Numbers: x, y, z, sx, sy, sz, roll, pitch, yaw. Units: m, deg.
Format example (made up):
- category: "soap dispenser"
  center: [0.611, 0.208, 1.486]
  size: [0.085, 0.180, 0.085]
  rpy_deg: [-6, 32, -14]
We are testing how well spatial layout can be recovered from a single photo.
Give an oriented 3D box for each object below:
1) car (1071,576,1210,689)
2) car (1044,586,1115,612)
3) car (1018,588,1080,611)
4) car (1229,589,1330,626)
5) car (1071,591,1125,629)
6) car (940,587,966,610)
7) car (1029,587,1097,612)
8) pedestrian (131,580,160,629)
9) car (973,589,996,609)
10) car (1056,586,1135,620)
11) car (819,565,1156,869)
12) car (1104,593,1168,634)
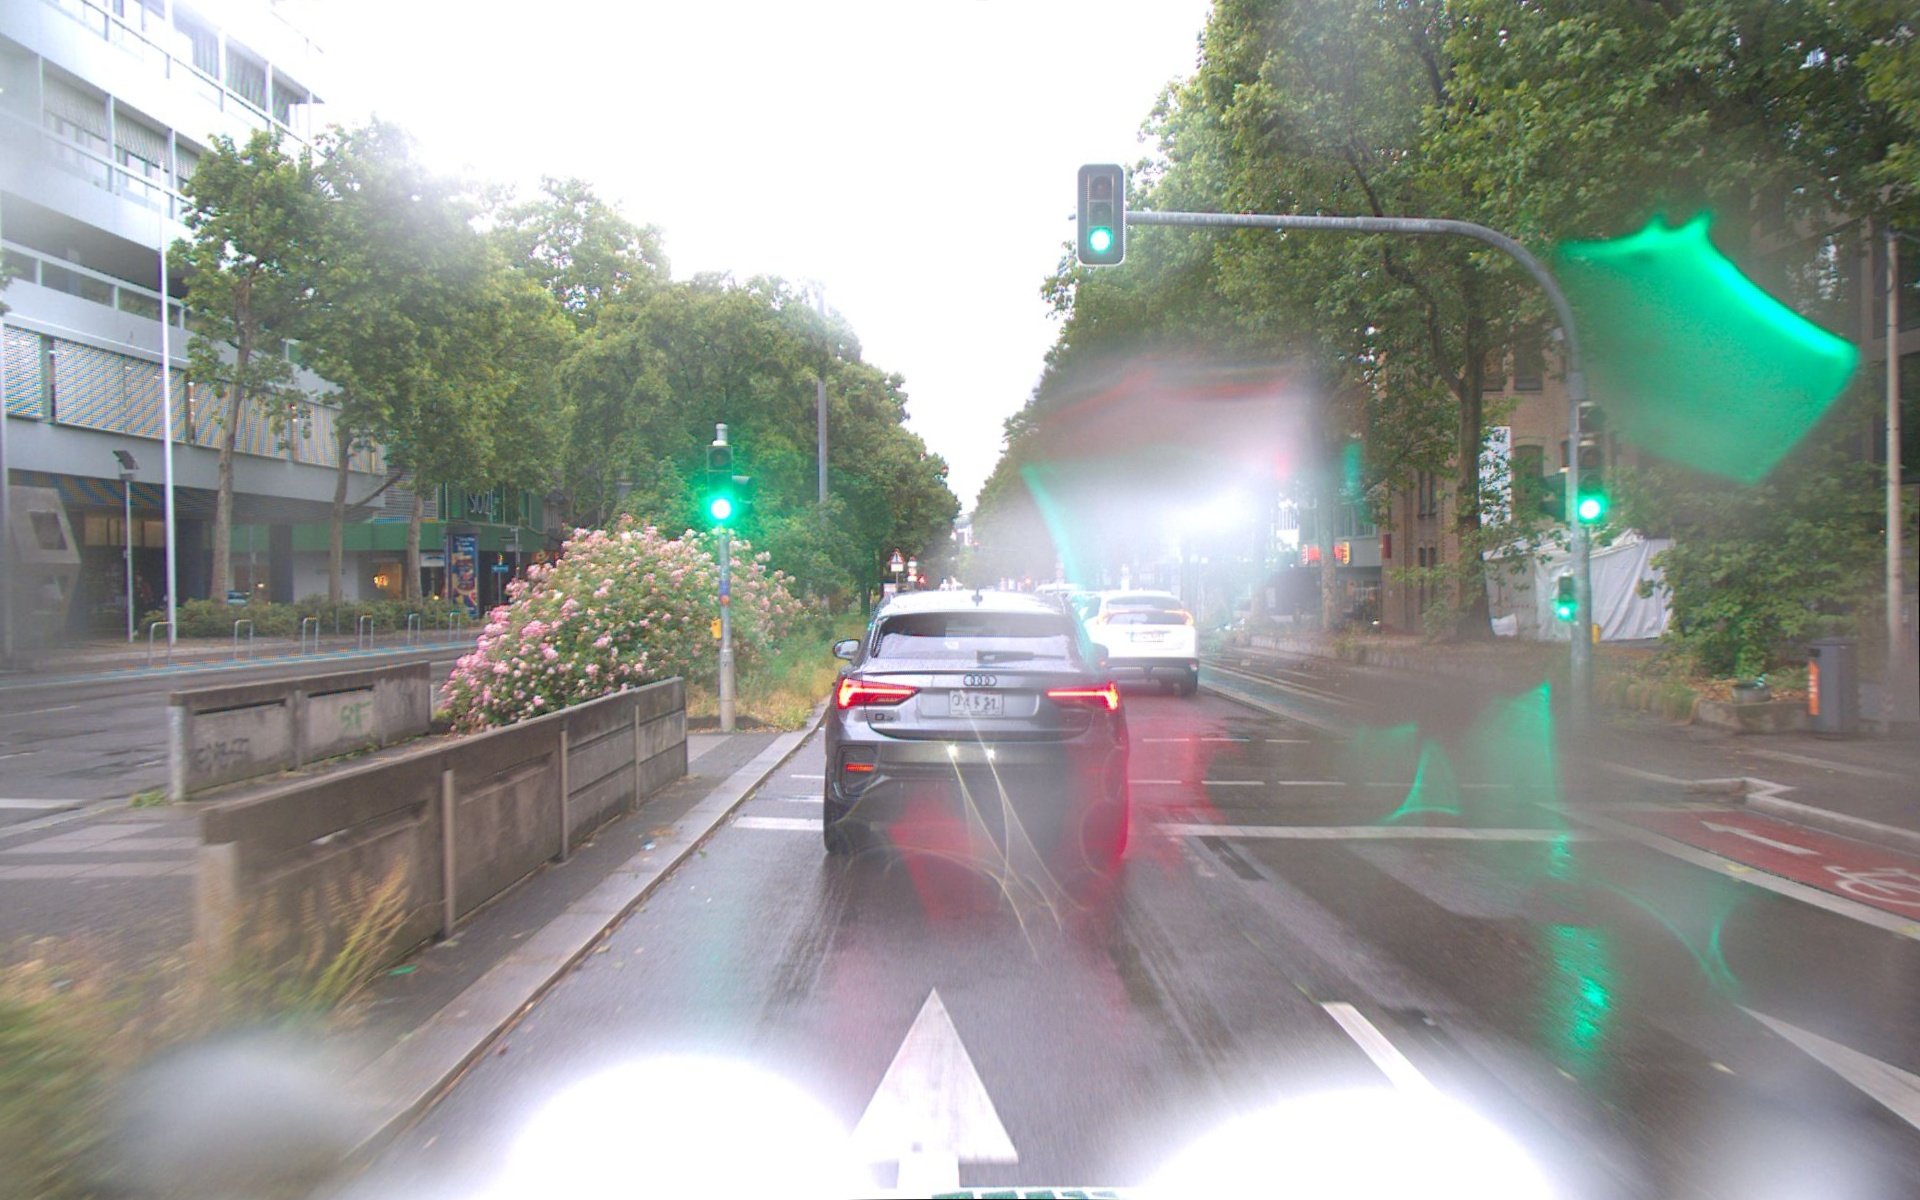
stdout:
- category: "car"
  center: [2.947, 0.527, 27.803]
  size: [1.840, 1.727, 3.999]
  rpy_deg: [1, -1, -1]
- category: "car"
  center: [8.433, -0.063, 116.942]
  size: [4.549, 1.736, 1.998]
  rpy_deg: [1, -1, 27]
- category: "car"
  center: [7.224, -0.051, 134.230]
  size: [4.549, 1.736, 1.998]
  rpy_deg: [1, -1, 27]
- category: "car"
  center: [10.081, 0.243, 52.209]
  size: [2.830, 1.093, 1.452]
  rpy_deg: [1, -1, 31]
- category: "car"
  center: [6.082, 0.465, 73.234]
  size: [1.693, 1.599, 4.069]
  rpy_deg: [1, -1, -5]
- category: "car"
  center: [-0.560, -0.107, 131.754]
  size: [1.953, 1.757, 3.999]
  rpy_deg: [1, -1, -1]
- category: "car"
  center: [7.515, -0.042, 120.576]
  size: [4.549, 1.736, 1.998]
  rpy_deg: [1, -1, 27]
- category: "pedestrian"
  center: [-25.432, 0.156, 51.627]
  size: [0.597, 1.508, 0.574]
  rpy_deg: [1, -1, -4]
- category: "car"
  center: [2.126, -0.115, 144.663]
  size: [1.953, 1.680, 3.999]
  rpy_deg: [1, -1, 0]
- category: "car"
  center: [8.402, 0.193, 102.796]
  size: [4.518, 2.049, 1.959]
  rpy_deg: [1, -1, 38]
- category: "car"
  center: [0.099, 0.631, 10.911]
  size: [1.812, 1.630, 3.999]
  rpy_deg: [0, 0, -2]
- category: "car"
  center: [6.572, 0.511, 62.120]
  size: [1.835, 1.446, 4.610]
  rpy_deg: [1, 0, -1]
